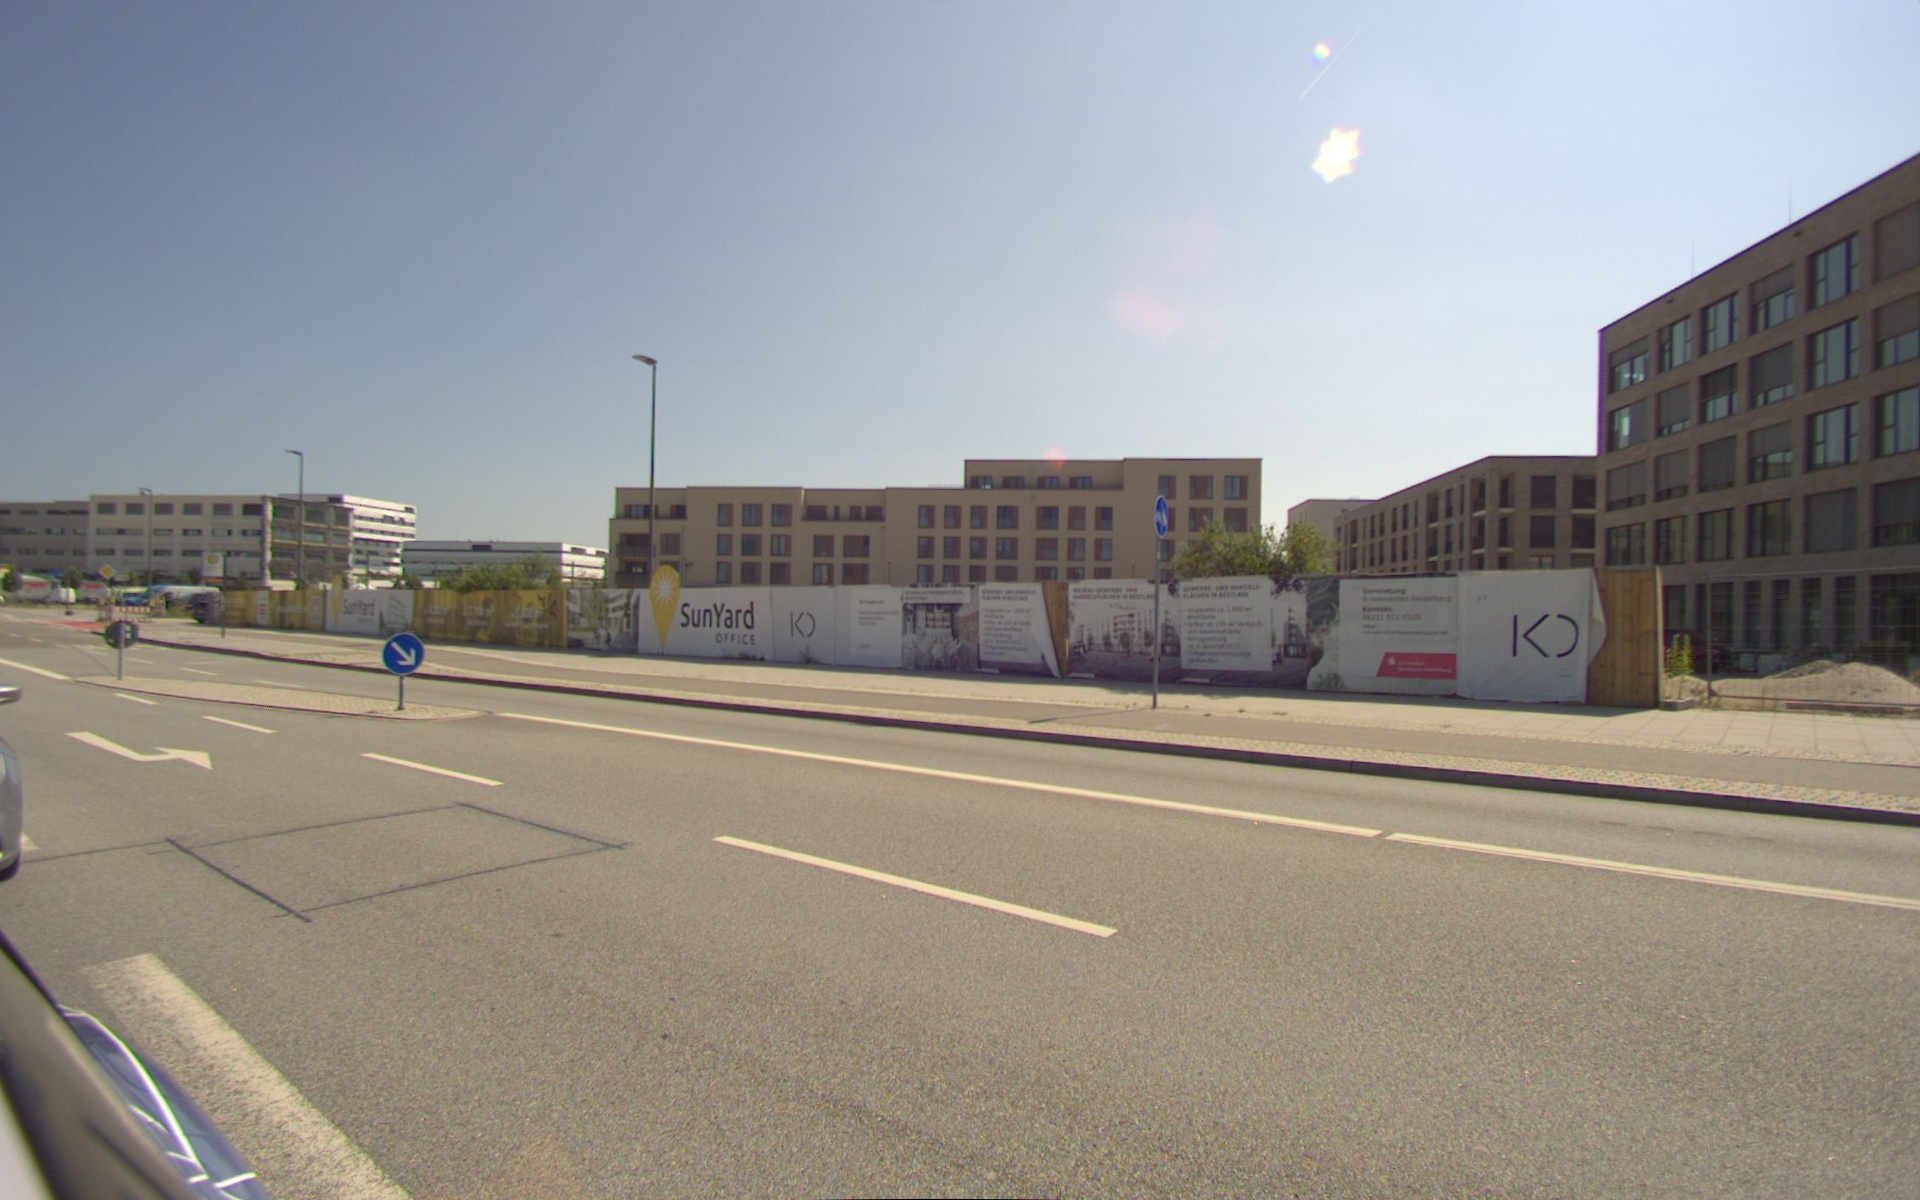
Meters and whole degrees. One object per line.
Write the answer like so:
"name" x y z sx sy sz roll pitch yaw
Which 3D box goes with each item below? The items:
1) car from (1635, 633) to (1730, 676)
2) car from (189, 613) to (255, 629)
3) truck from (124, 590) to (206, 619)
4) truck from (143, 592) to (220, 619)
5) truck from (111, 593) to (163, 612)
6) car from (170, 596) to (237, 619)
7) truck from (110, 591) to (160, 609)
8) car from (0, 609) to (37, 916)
"car" 32.022 2.381 44.986 1.814 1.666 3.772 -1 0 7
"car" -48.321 1.344 66.280 1.293 0.960 3.315 0 1 43
"truck" -72.516 0.387 92.375 1.996 2.494 5.567 0 1 36
"truck" -67.105 0.424 87.317 1.998 2.245 4.942 0 1 39
"truck" -114.903 0.303 141.391 1.996 2.494 5.270 0 1 36
"car" -60.367 0.603 80.794 1.888 1.731 3.885 0 1 35
"truck" -120.233 -0.039 147.558 1.998 2.494 5.346 0 1 38
"car" -6.758 0.798 5.741 4.345 1.478 1.796 -1 -1 41
